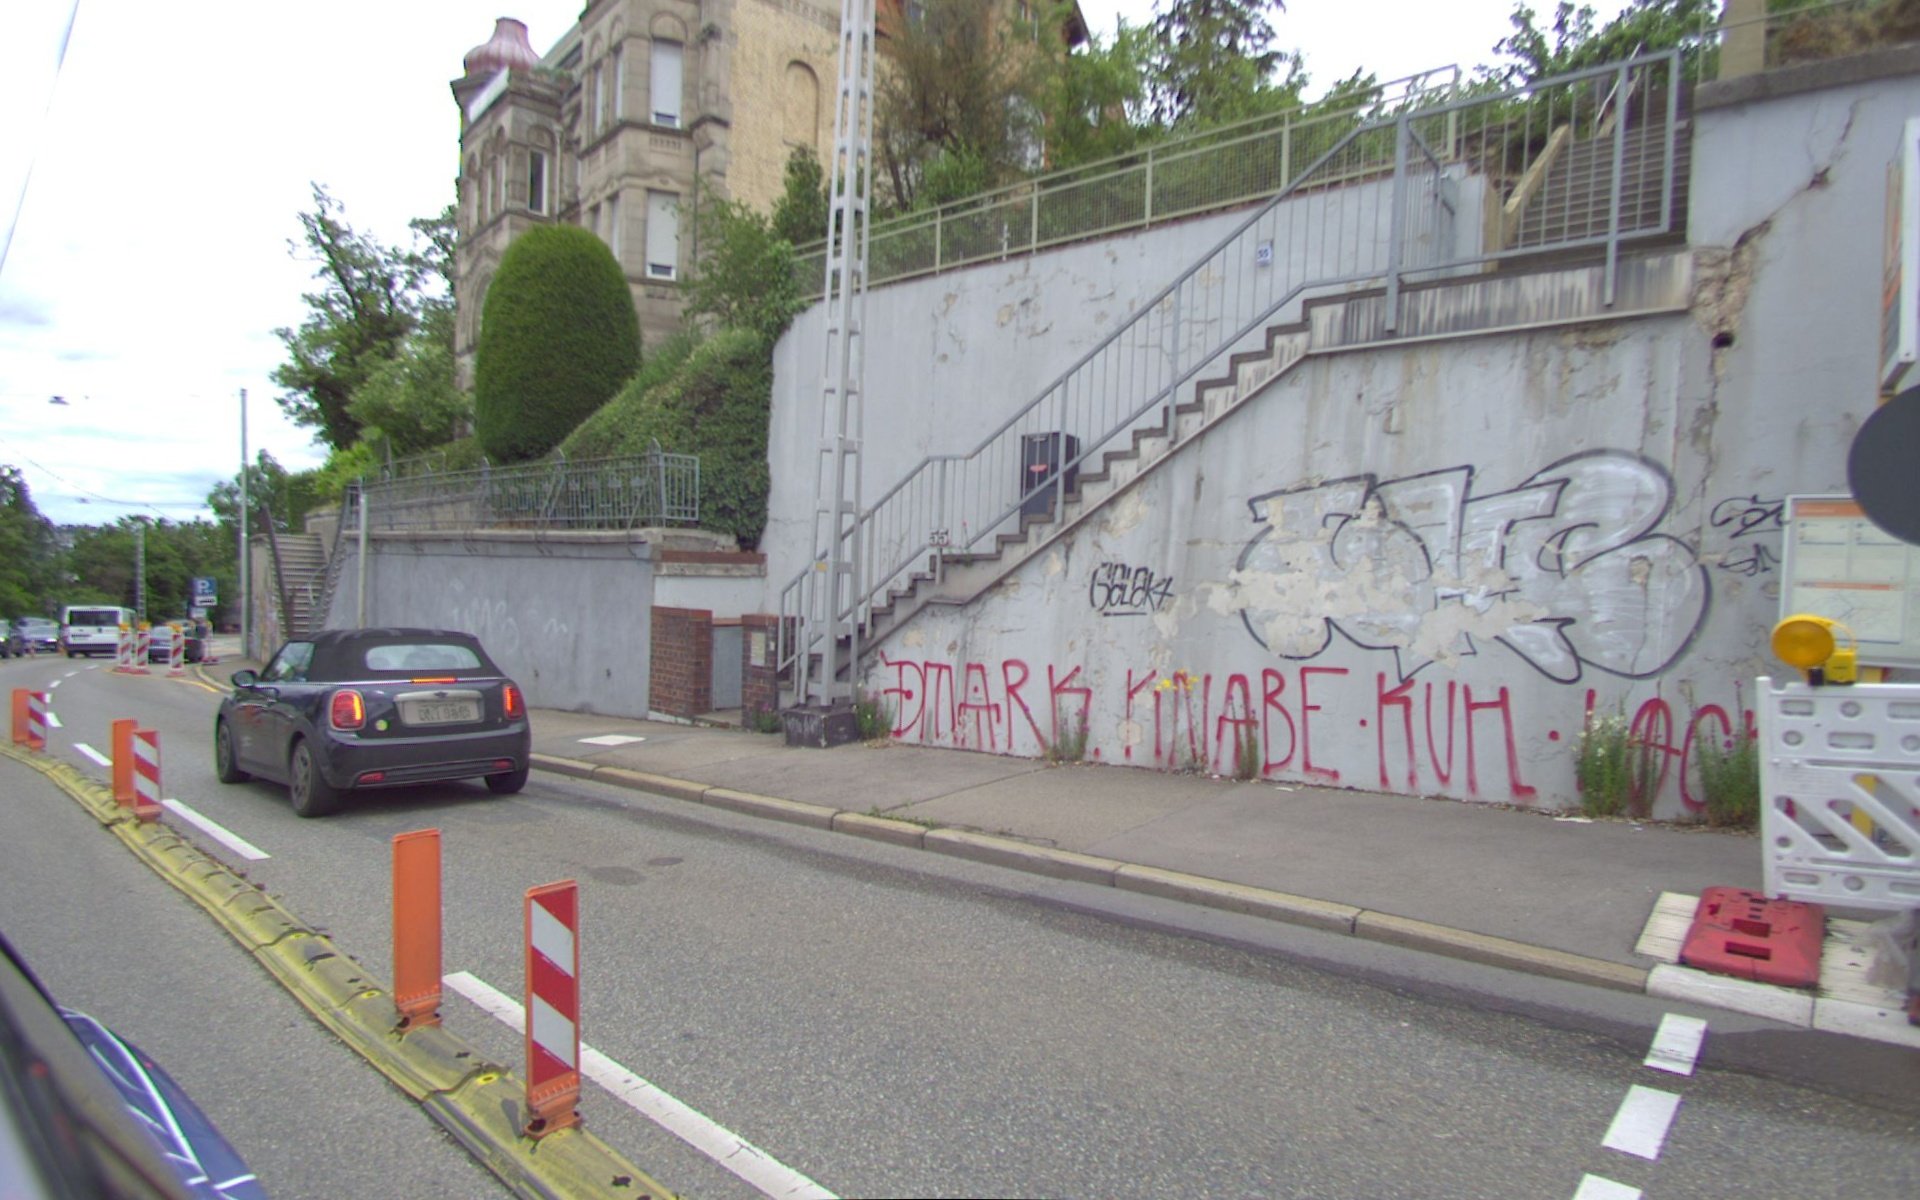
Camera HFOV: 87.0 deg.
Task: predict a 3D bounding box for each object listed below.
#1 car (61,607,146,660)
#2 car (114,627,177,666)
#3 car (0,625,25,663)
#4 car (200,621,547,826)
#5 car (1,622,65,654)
[{"bbox_3d":[-37.926,1.511,44.937,2.038,2.204,4.977,2,-3,-31],"label":"car"},{"bbox_3d":[-31.831,1.801,39.627,1.776,1.383,4.397,3,-3,-38],"label":"car"},{"bbox_3d":[-40.834,1.808,42.364,1.770,1.522,4.011,3,-3,-33],"label":"car"},{"bbox_3d":[-5.303,0.916,8.979,3.587,1.441,1.653,-1,-2,43],"label":"car"},{"bbox_3d":[-47.872,1.957,52.355,1.770,1.522,4.011,3,-3,-33],"label":"car"}]
